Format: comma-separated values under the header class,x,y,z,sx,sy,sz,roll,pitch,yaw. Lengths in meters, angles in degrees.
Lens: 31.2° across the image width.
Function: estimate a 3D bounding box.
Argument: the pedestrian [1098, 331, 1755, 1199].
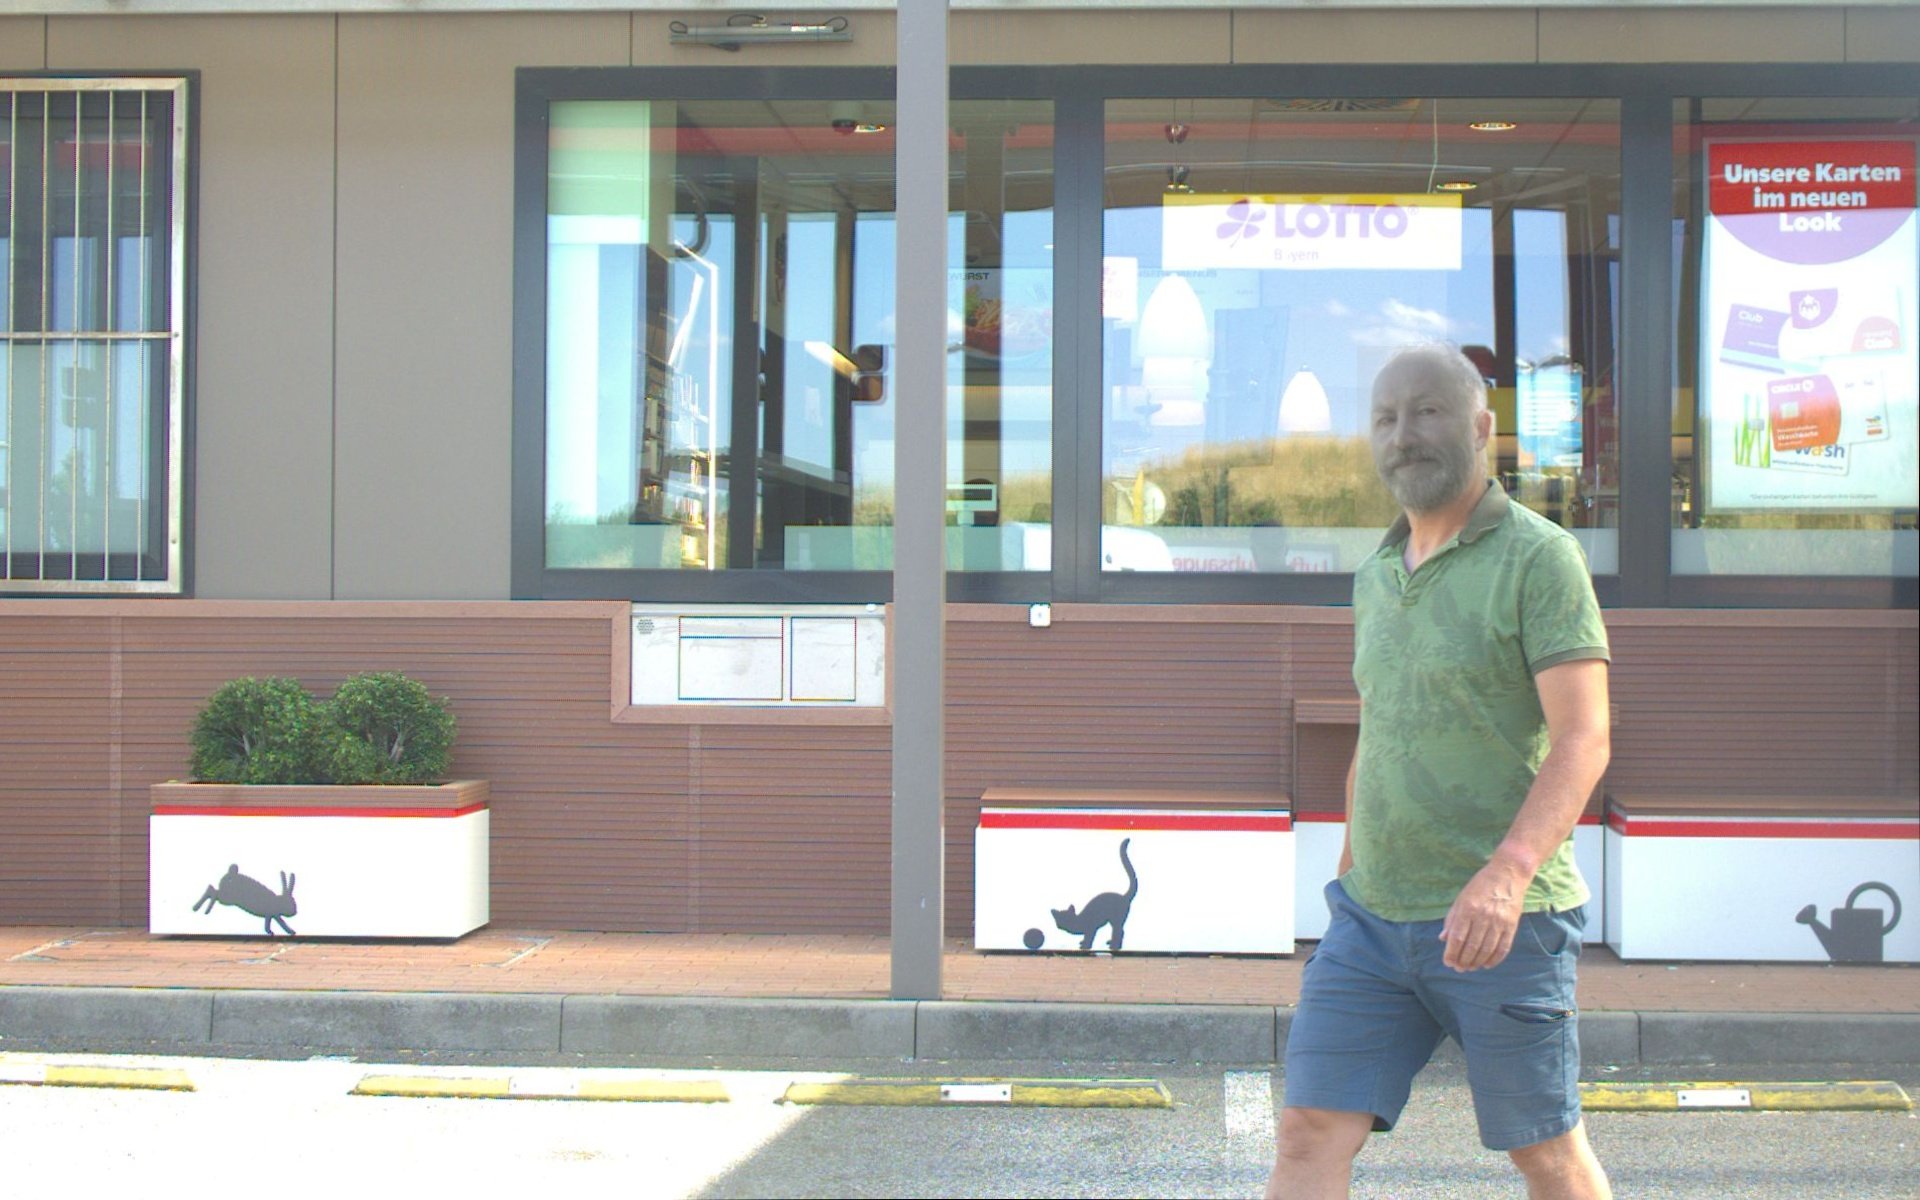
class,x,y,z,sx,sy,sz,roll,pitch,yaw
pedestrian,0.739,0.514,5.339,0.702,1.791,0.861,1,1,34
